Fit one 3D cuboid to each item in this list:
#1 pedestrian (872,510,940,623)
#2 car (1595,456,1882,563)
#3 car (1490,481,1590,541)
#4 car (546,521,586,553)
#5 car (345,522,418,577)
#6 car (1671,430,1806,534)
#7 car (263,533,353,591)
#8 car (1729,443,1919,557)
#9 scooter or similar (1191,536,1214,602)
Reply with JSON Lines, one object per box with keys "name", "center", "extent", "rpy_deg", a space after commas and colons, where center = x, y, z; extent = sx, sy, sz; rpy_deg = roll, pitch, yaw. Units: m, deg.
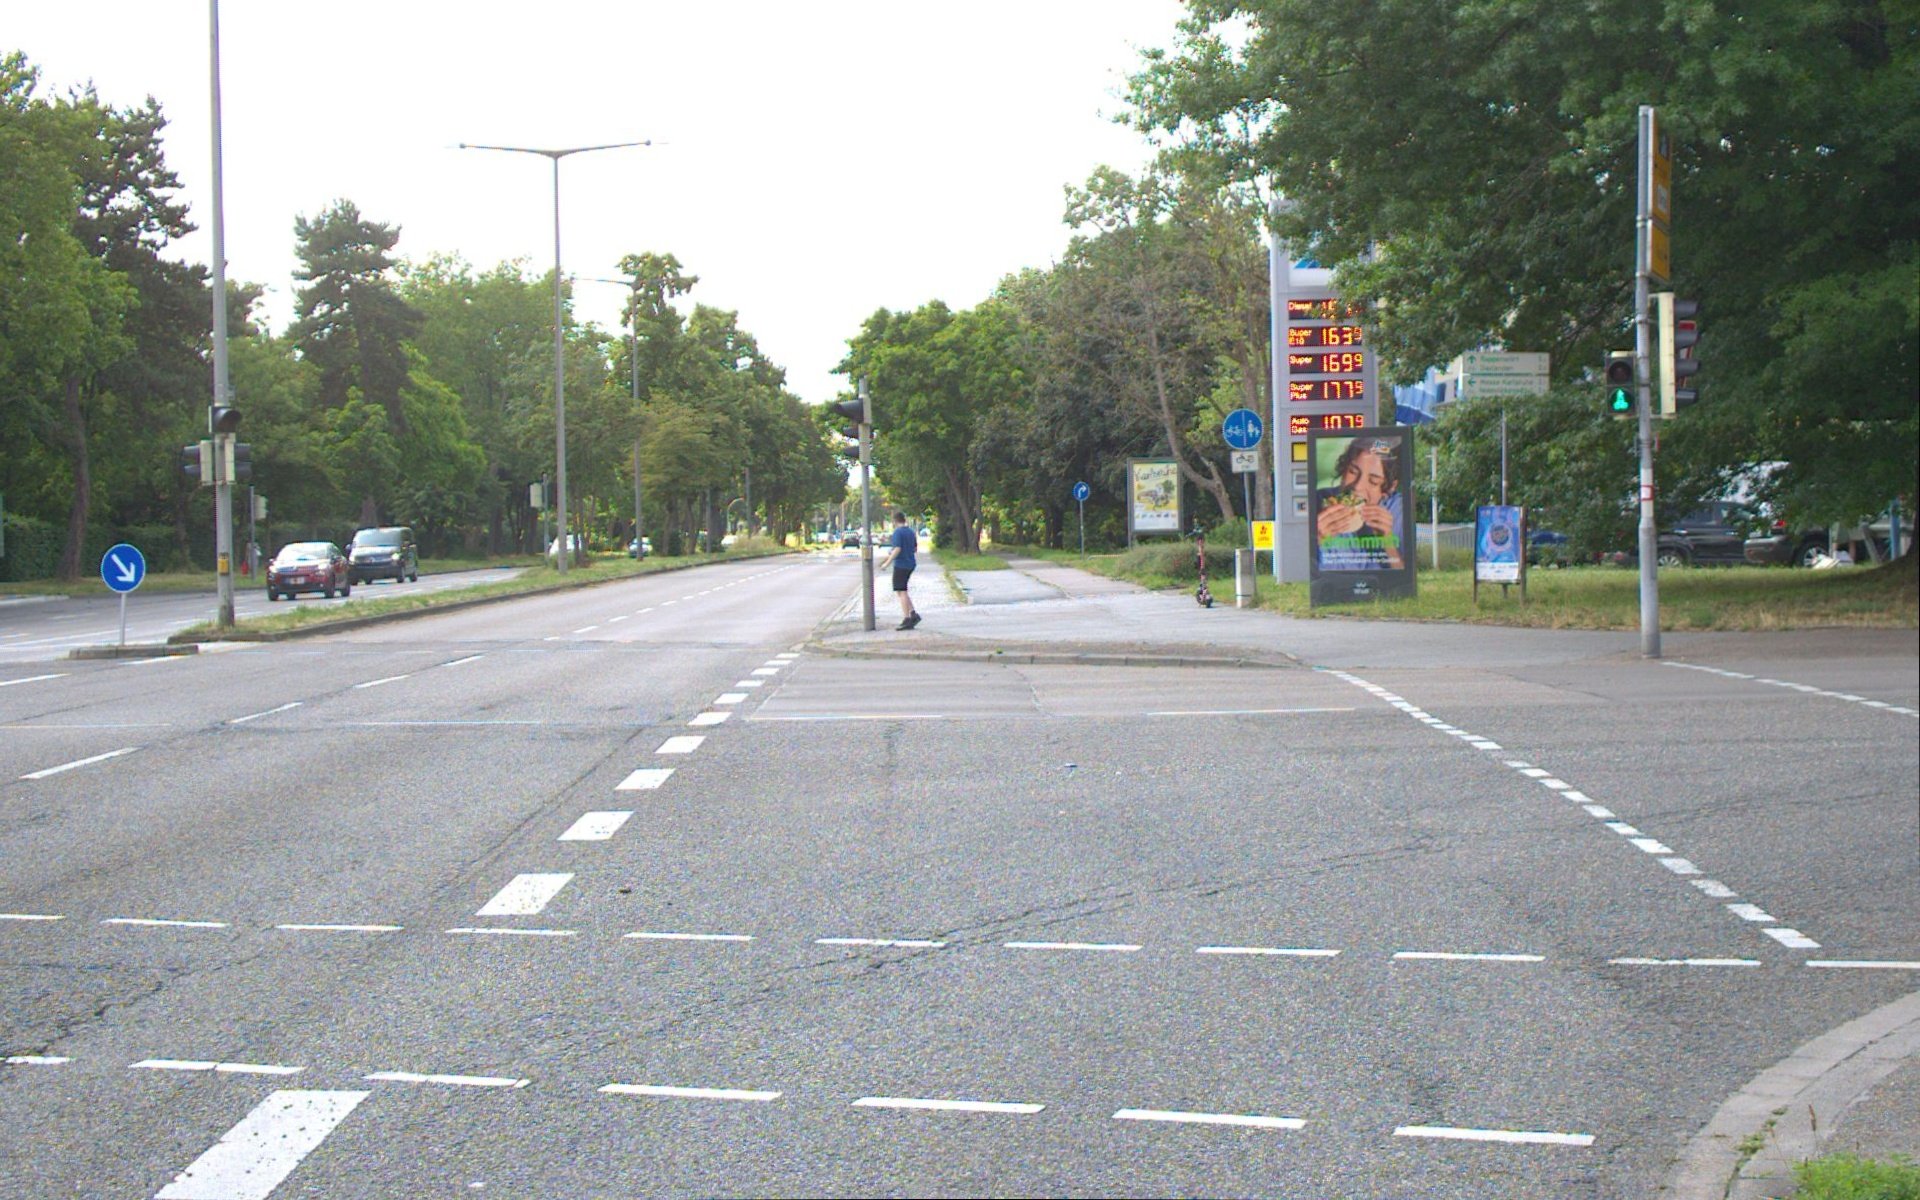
{"name": "pedestrian", "center": [-0.749, -0.464, 47.306], "extent": [0.725, 1.526, 0.760], "rpy_deg": [-2, 1, -17]}
{"name": "car", "center": [15.618, -1.823, 69.150], "extent": [5.180, 1.997, 2.154], "rpy_deg": [-1, 1, -4]}
{"name": "car", "center": [14.793, -2.268, 87.850], "extent": [1.750, 1.449, 3.741], "rpy_deg": [-1, 1, -2]}
{"name": "car", "center": [-22.104, -3.530, 192.961], "extent": [1.860, 1.699, 4.456], "rpy_deg": [-1, 1, -2]}
{"name": "car", "center": [-20.405, -1.799, 121.442], "extent": [1.765, 1.850, 4.817], "rpy_deg": [-1, 2, -1]}
{"name": "car", "center": [19.155, -2.878, 84.835], "extent": [1.750, 2.445, 5.751], "rpy_deg": [-1, 1, -2]}
{"name": "car", "center": [-17.360, -1.019, 91.665], "extent": [1.771, 1.460, 4.456], "rpy_deg": [-1, 1, -3]}
{"name": "car", "center": [15.915, -1.716, 58.217], "extent": [5.179, 1.820, 2.154], "rpy_deg": [-2, 1, -11]}
{"name": "scooter or similar", "center": [3.657, -0.474, 51.909], "extent": [0.221, 0.976, 1.272], "rpy_deg": [-1, 1, 0]}
